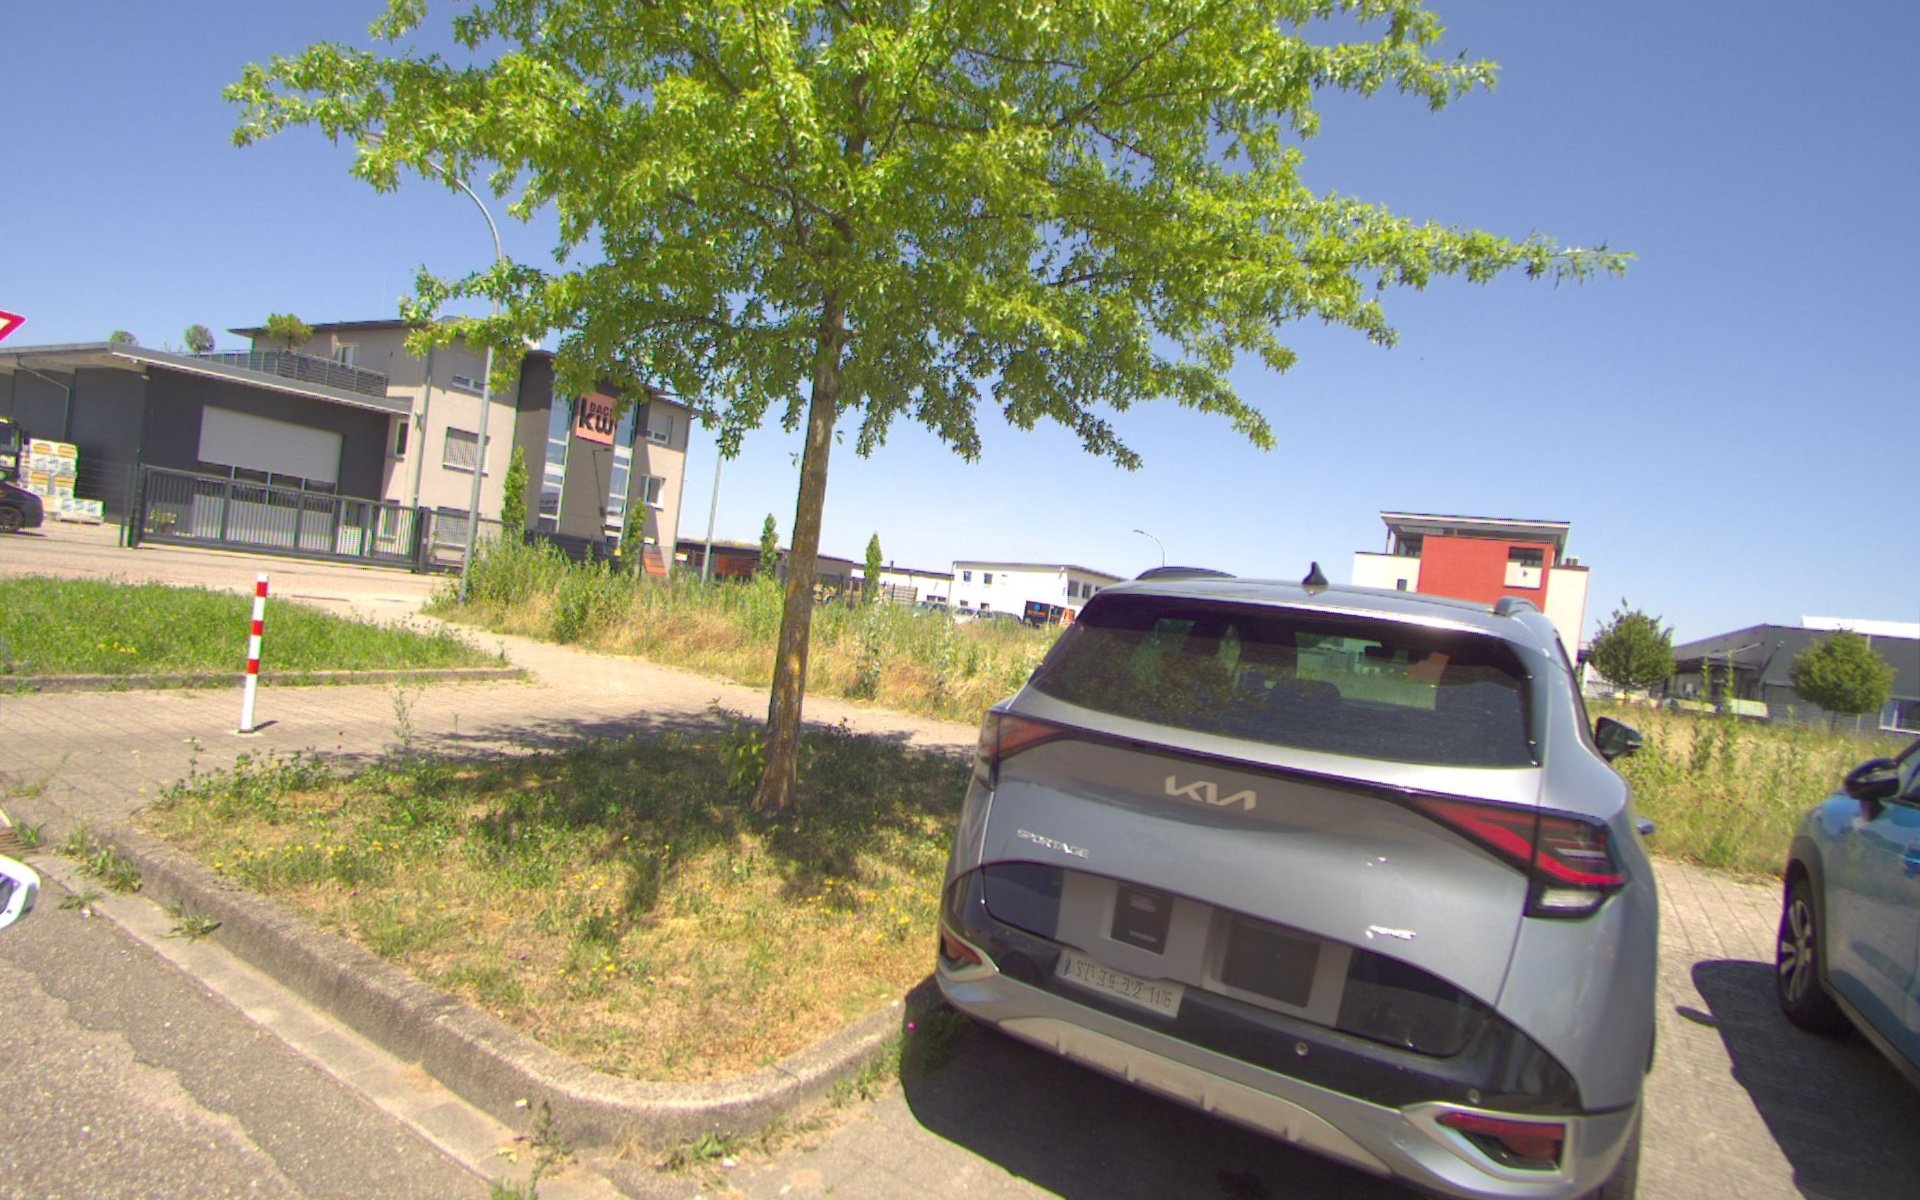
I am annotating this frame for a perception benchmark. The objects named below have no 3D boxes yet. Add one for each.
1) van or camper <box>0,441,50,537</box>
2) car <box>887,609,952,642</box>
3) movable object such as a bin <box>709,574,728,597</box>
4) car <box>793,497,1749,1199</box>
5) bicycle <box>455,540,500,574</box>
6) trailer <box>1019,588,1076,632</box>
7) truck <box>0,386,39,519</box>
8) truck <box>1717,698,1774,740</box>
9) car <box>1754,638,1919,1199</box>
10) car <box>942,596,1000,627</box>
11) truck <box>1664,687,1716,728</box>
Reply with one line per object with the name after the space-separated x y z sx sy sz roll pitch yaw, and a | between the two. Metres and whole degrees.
-24.670 -2.927 23.228 1.966 2.191 4.942 8 1 31 | van or camper
-2.174 1.402 54.675 1.650 1.401 3.634 9 1 32 | car
-10.374 -0.610 43.181 0.552 0.896 0.435 8 2 32 | movable object such as a bin
1.521 0.751 3.955 1.820 1.665 4.281 7 1 31 | car
-19.745 -1.758 41.219 0.436 1.200 1.807 7 1 17 | bicycle
6.128 0.747 70.003 2.195 2.632 3.992 7 1 30 | trailer
-32.917 -5.000 32.288 6.819 3.979 2.925 7 1 31 | truck
47.089 7.081 60.417 1.966 2.039 3.992 7 1 31 | truck
3.875 1.044 2.884 1.807 1.665 3.991 7 1 31 | car
0.654 0.699 59.512 1.650 1.401 3.634 9 1 32 | car
44.587 6.536 61.543 1.966 2.039 4.347 7 1 31 | truck
